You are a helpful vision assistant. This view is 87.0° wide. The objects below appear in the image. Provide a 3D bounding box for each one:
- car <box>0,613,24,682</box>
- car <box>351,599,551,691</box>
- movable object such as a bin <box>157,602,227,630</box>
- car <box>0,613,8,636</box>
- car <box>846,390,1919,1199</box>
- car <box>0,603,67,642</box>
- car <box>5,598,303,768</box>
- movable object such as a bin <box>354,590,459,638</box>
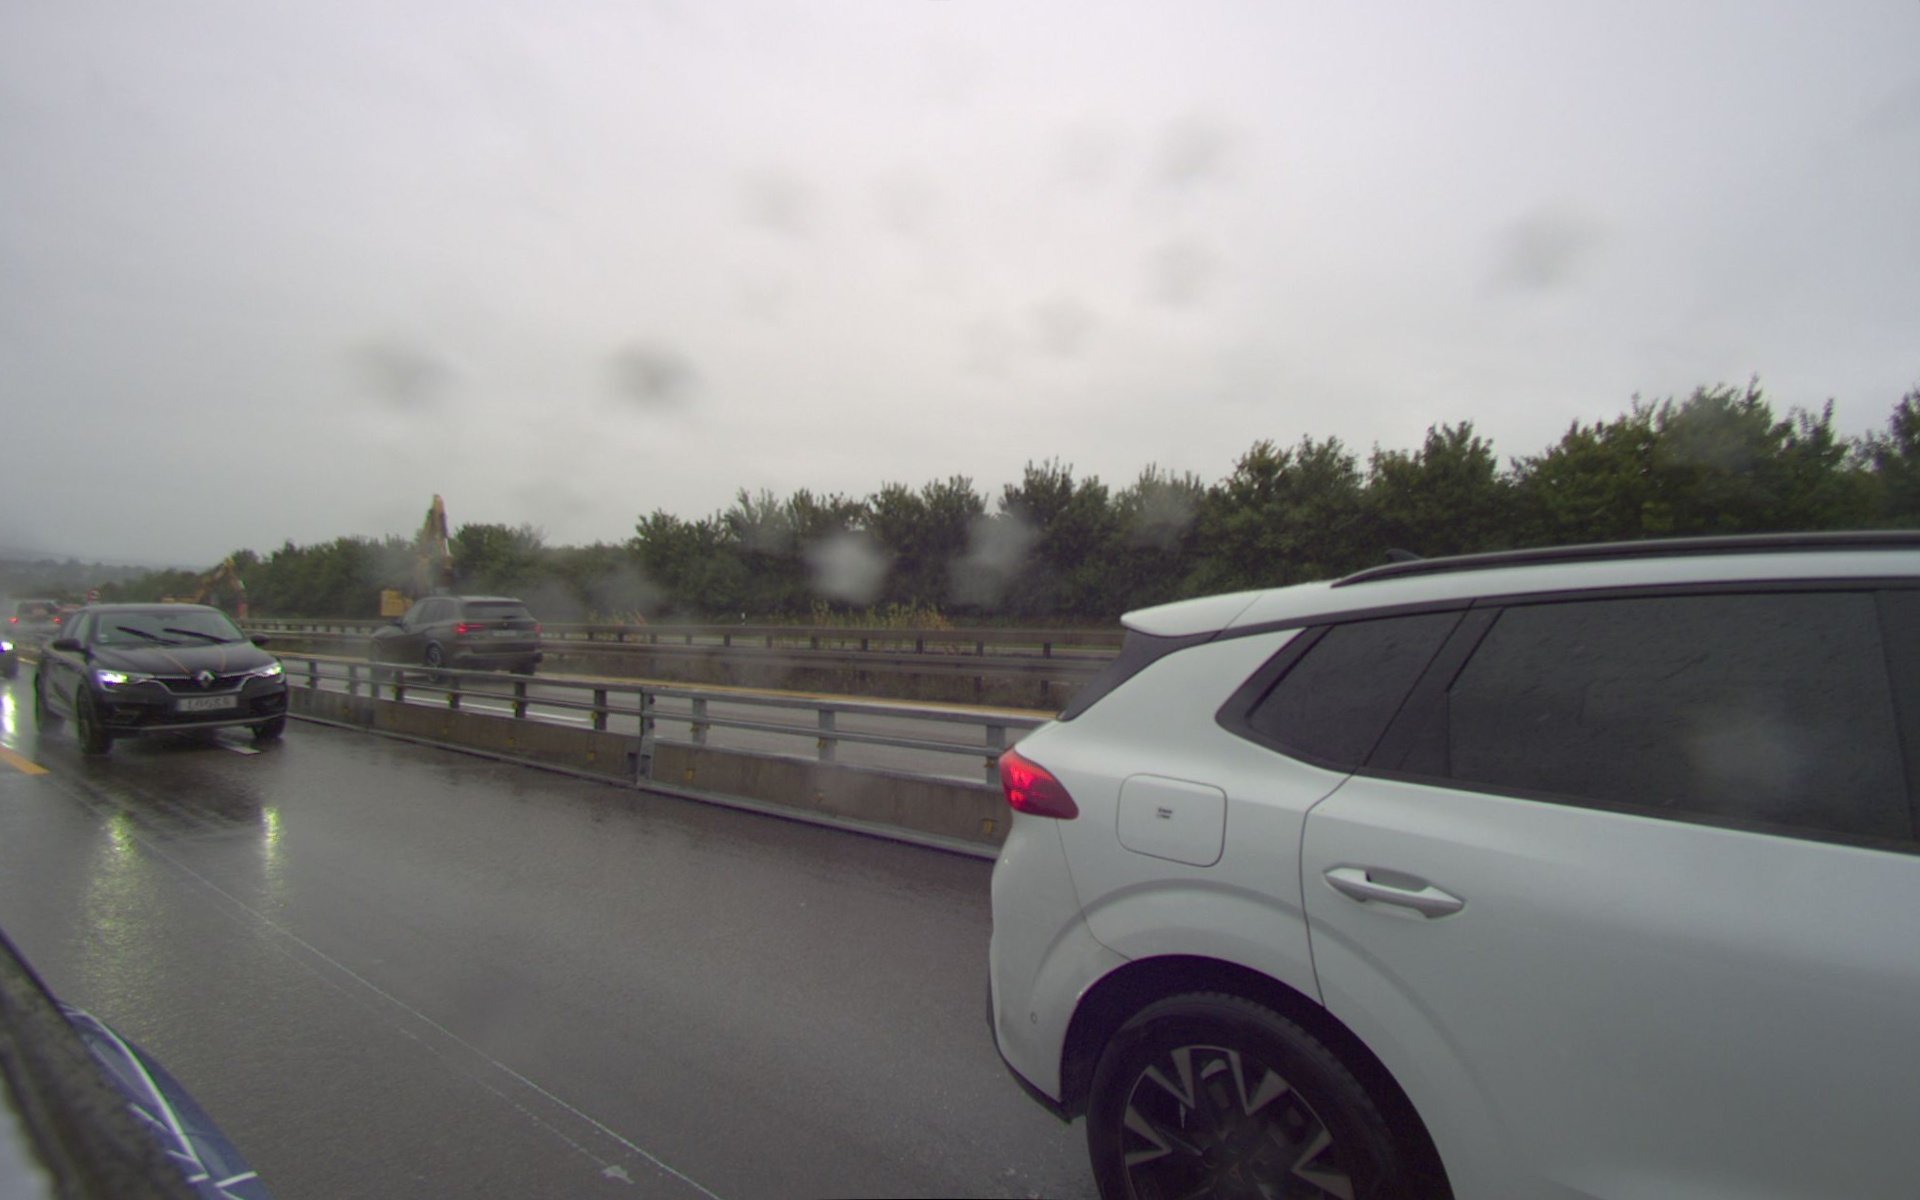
[{"bbox_3d":[-23.495,1.082,23.533,4.627,1.509,1.973,-1,0,40],"label":"car"},{"bbox_3d":[-10.837,0.866,21.378,5.099,1.730,1.931,-1,0,40],"label":"car"},{"bbox_3d":[-66.636,1.399,87.830,5.088,2.312,3.410,-1,0,34],"label":"movable object such as a bin"},{"bbox_3d":[-61.188,1.548,63.519,3.829,1.439,1.683,-1,0,40],"label":"car"},{"bbox_3d":[2.157,0.549,1.674,4.795,1.629,1.972,-1,0,42],"label":"car"},{"bbox_3d":[-45.742,1.097,49.913,5.052,1.820,1.872,-1,0,41],"label":"car"},{"bbox_3d":[-9.469,0.801,11.754,4.412,1.597,1.973,-1,0,41],"label":"car"},{"bbox_3d":[-34.105,0.842,62.287,6.326,2.819,3.726,-1,0,41],"label":"movable object such as a bin"}]
